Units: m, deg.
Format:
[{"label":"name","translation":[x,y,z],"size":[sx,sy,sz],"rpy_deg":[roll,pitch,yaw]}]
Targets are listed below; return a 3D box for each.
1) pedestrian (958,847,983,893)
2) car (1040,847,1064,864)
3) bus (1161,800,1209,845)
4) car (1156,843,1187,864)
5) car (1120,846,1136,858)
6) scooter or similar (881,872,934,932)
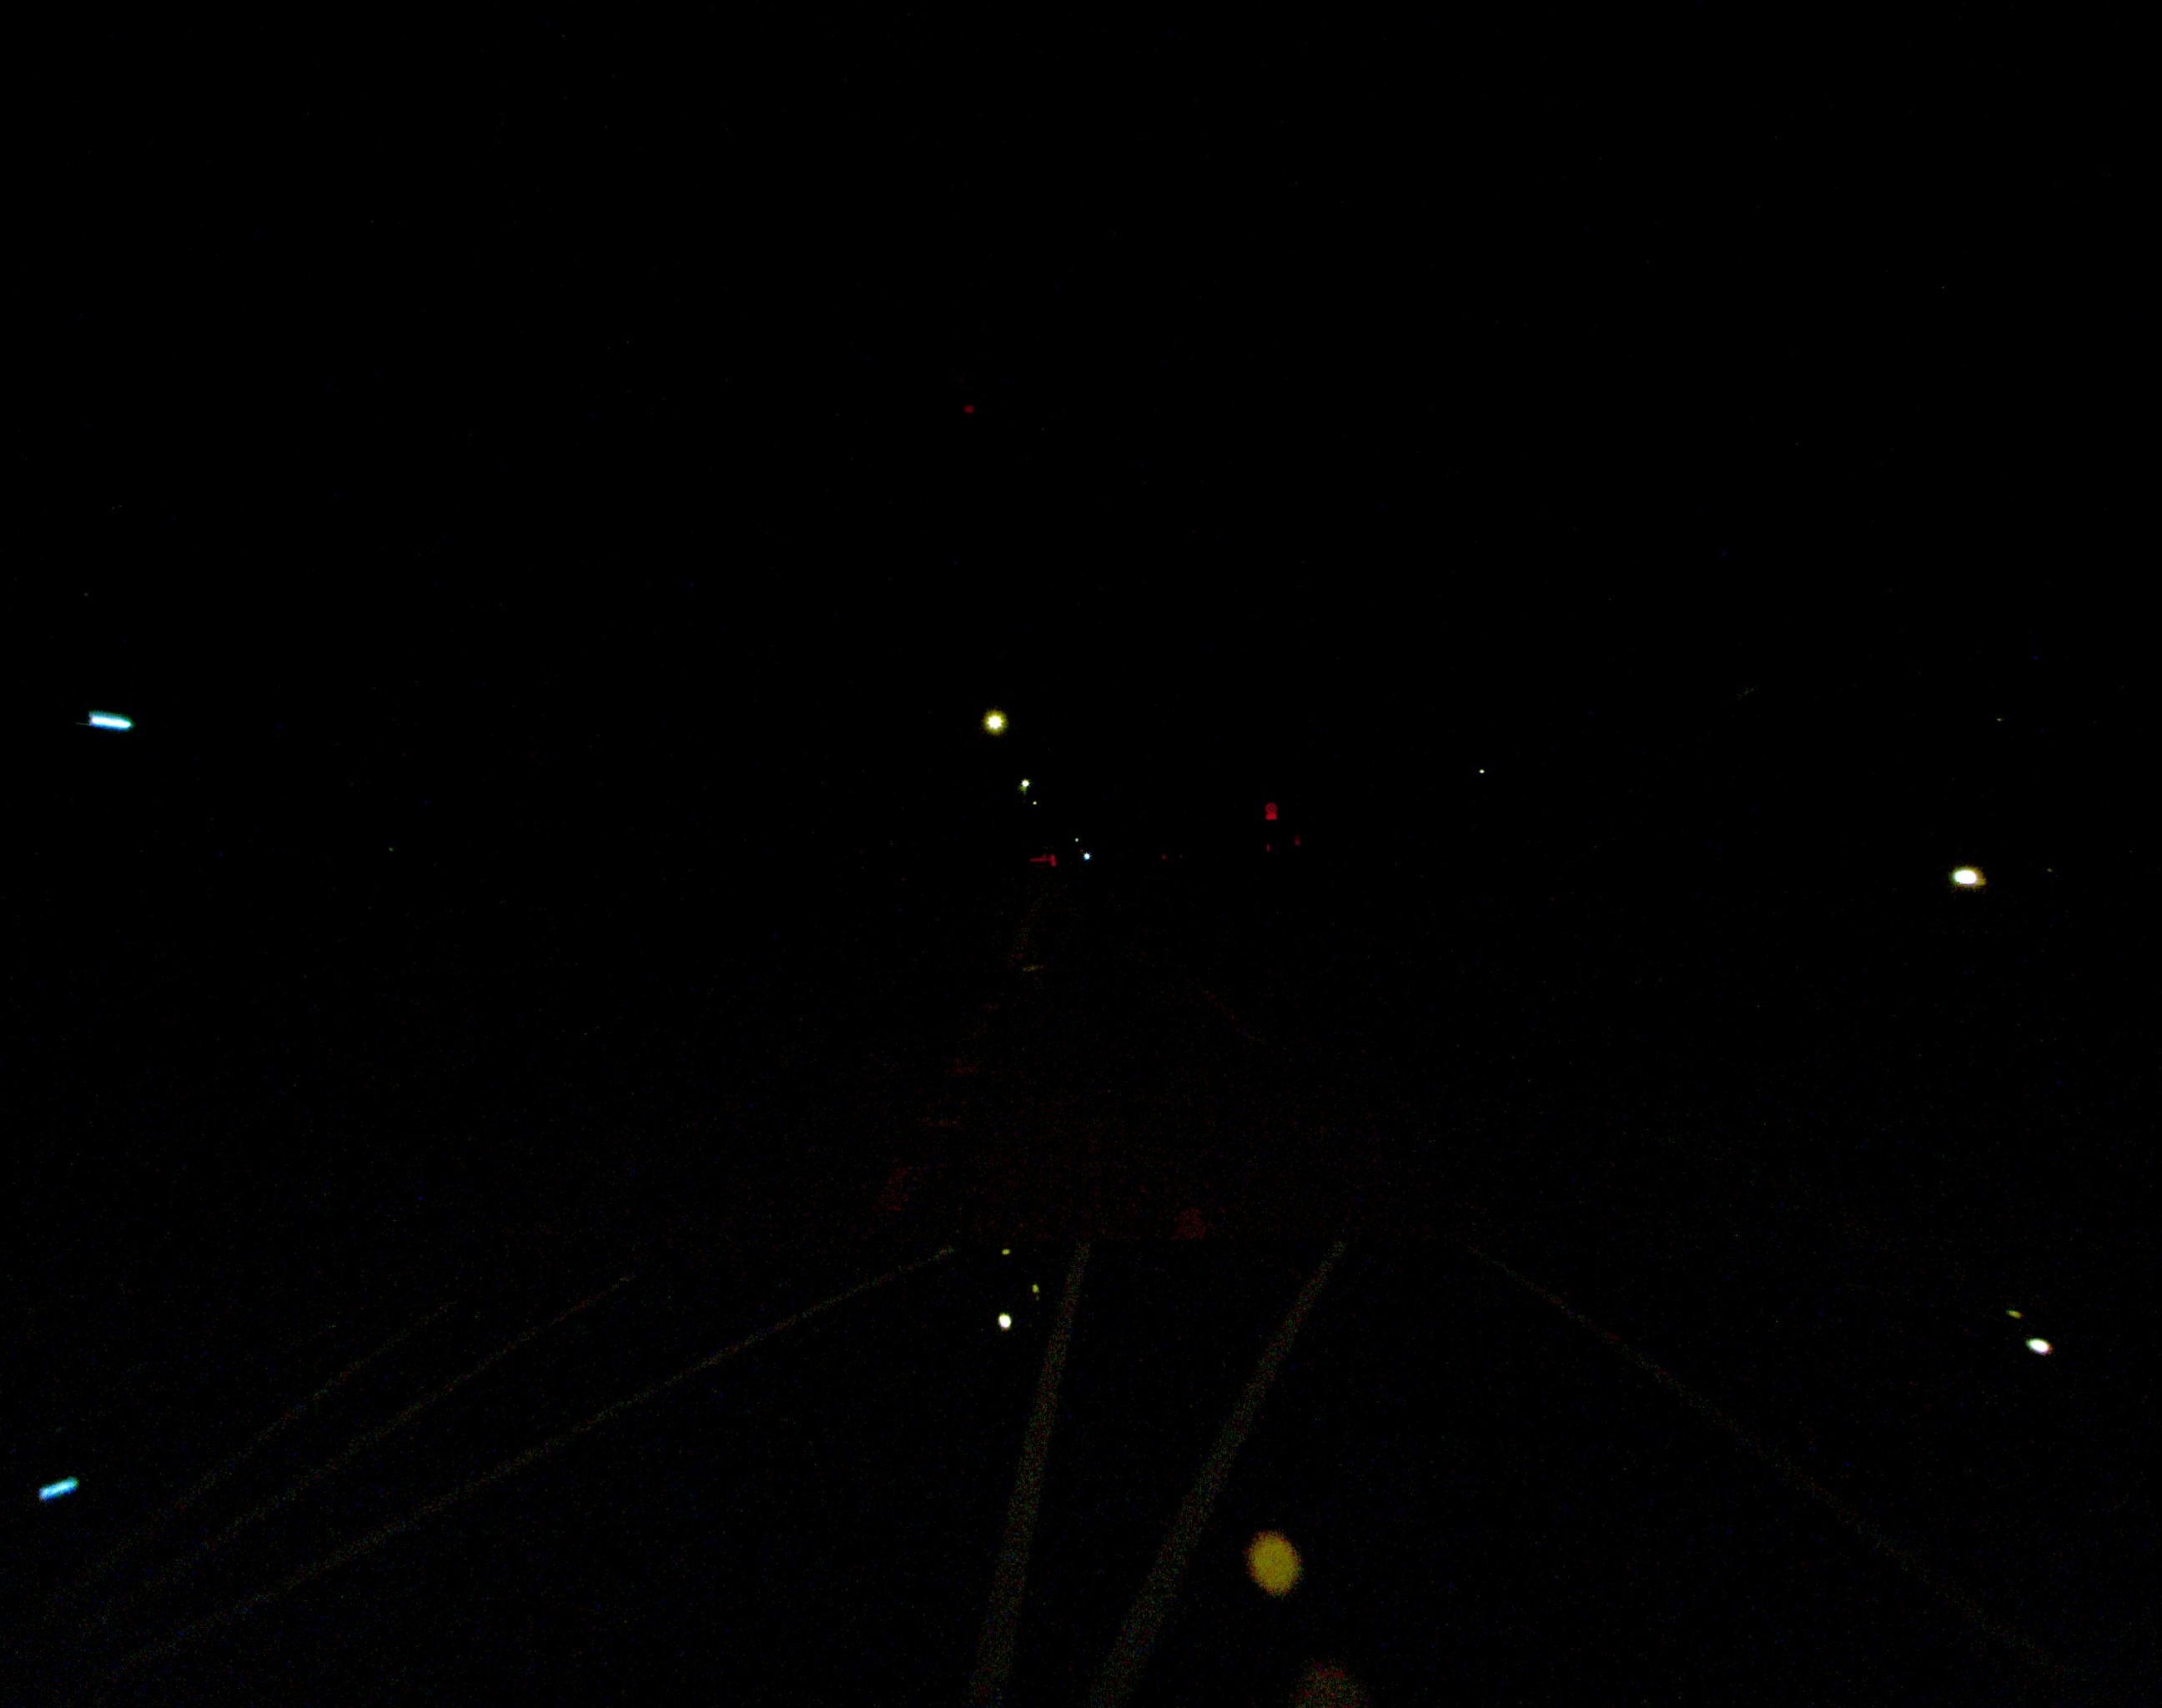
[{"label":"pedestrian","translation":[-4.603,0.649,31.690],"size":[0.819,1.854,1.034],"rpy_deg":[-2,1,1]},{"label":"car","translation":[-2.936,0.121,78.107],"size":[1.998,1.638,4.000],"rpy_deg":[1,2,4]},{"label":"bus","translation":[17.420,-5.089,129.115],"size":[6.135,6.898,14.781],"rpy_deg":[-2,1,1]},{"label":"car","translation":[7.200,-0.054,60.801],"size":[1.806,1.583,3.999],"rpy_deg":[-2,1,-1]},{"label":"car","translation":[6.183,-0.337,100.414],"size":[1.863,1.484,4.080],"rpy_deg":[-2,1,1]},{"label":"scooter or similar","translation":[-3.650,0.997,16.086],"size":[0.468,1.195,1.137],"rpy_deg":[-2,0,24]}]
